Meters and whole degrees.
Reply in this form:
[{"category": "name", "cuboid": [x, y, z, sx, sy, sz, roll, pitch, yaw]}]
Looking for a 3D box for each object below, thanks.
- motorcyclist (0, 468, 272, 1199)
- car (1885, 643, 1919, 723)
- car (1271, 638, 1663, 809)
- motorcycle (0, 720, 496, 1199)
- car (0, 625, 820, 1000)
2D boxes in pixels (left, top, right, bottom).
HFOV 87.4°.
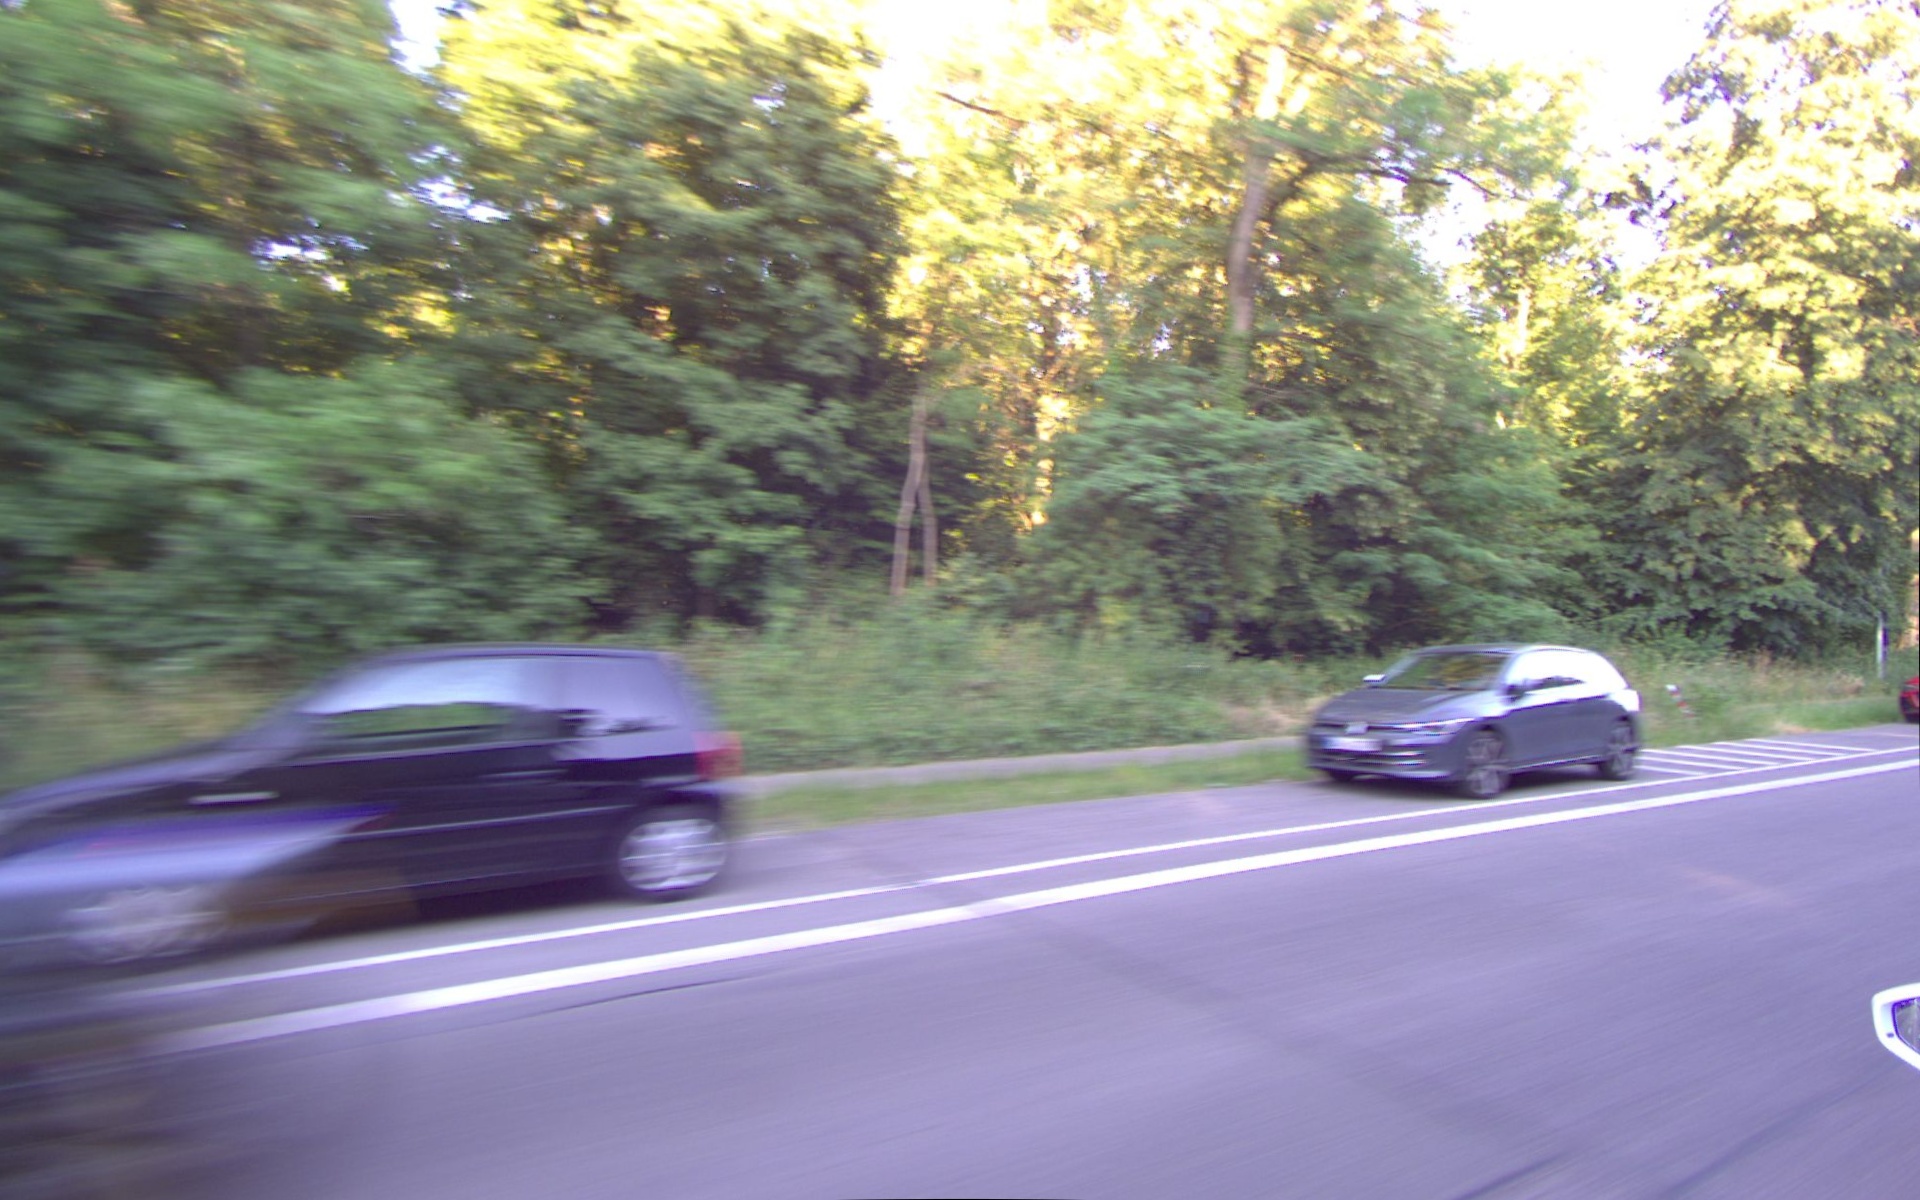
[{"category": "motorcyclist", "cuboid": [-2.178, 0.513, 2.225, 0.983, 1.549, 0.601, 1, -1, -28]}, {"category": "car", "cuboid": [19.664, 1.564, 19.163, 4.334, 1.449, 1.709, 2, -2, -29]}, {"category": "car", "cuboid": [5.447, 1.163, 10.662, 4.183, 1.482, 1.835, 1, -3, -33]}, {"category": "motorcycle", "cuboid": [-2.137, 0.906, 2.277, 1.936, 1.141, 0.609, 1, -1, -28]}, {"category": "car", "cuboid": [-2.806, 0.942, 5.799, 3.615, 1.528, 1.703, 1, -3, -31]}]
